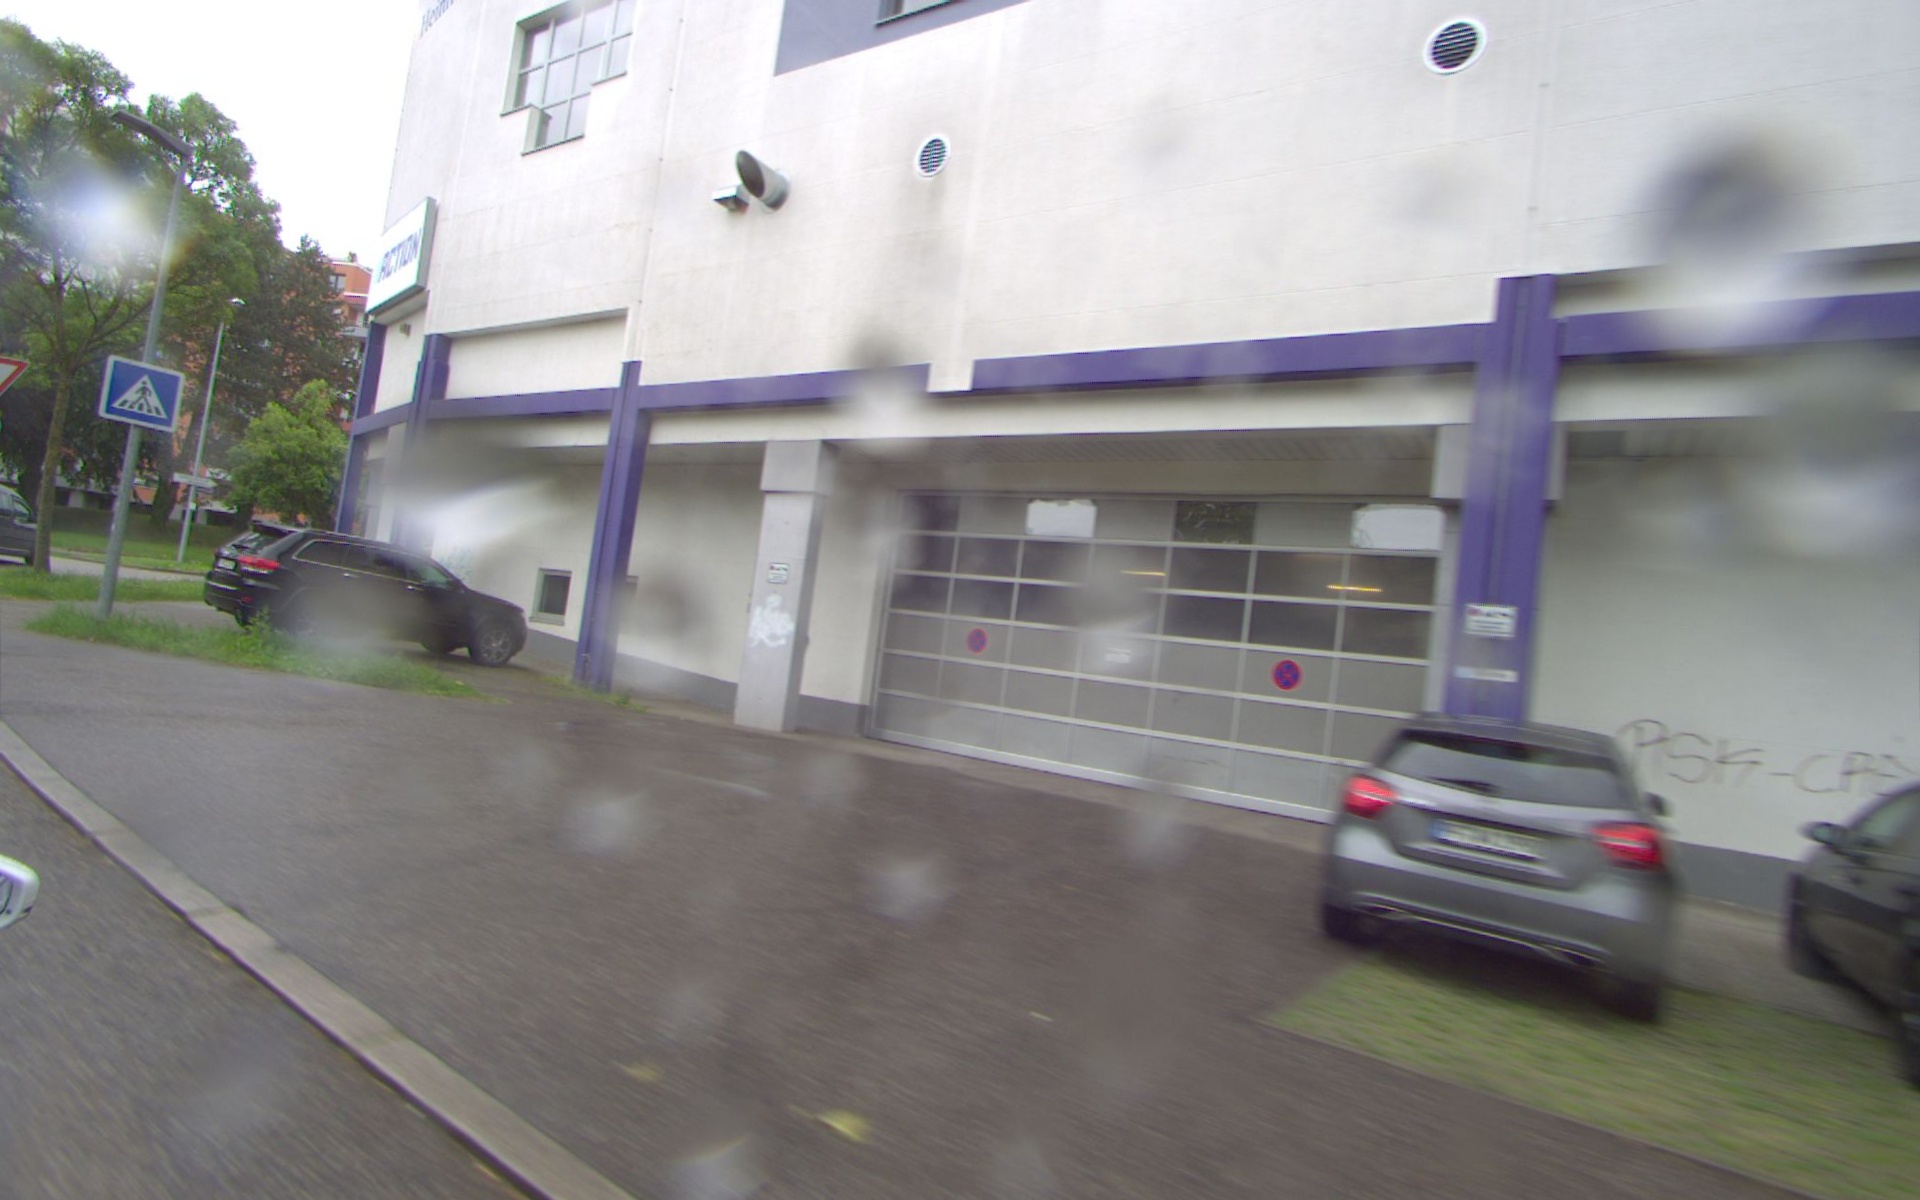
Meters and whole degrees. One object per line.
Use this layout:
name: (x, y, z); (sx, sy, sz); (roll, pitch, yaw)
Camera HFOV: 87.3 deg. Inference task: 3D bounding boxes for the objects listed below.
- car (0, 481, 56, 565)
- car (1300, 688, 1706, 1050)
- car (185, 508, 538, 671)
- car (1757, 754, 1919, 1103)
car: (-22.383, -1.863, 22.533); (1.903, 1.821, 3.766); (11, -1, -25)
car: (3.656, 1.530, 6.845); (1.692, 1.468, 3.950); (6, -4, 30)
car: (-9.460, -0.060, 16.315); (1.799, 1.777, 4.391); (9, -3, 32)
car: (5.797, 1.735, 5.404); (1.692, 1.469, 3.627); (7, -3, 30)
